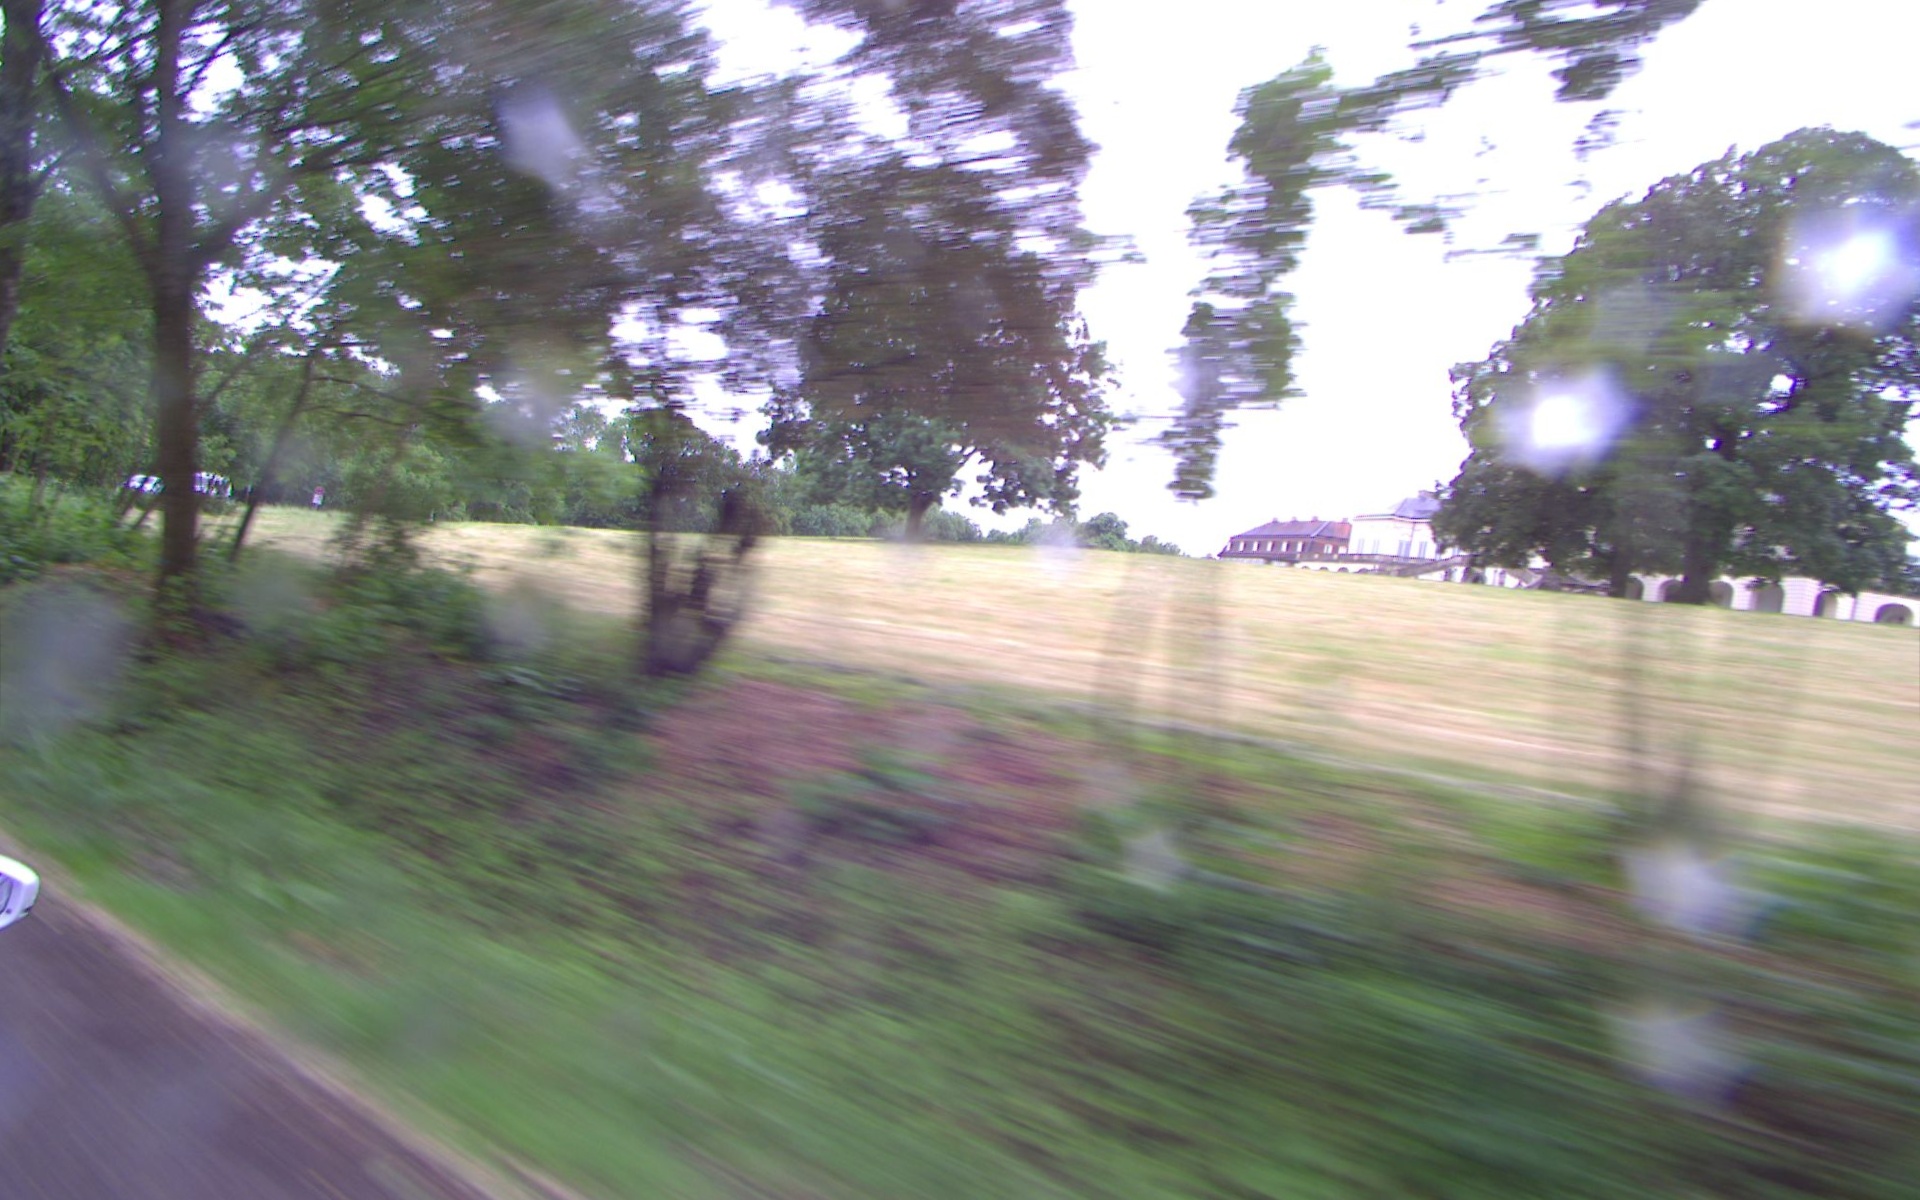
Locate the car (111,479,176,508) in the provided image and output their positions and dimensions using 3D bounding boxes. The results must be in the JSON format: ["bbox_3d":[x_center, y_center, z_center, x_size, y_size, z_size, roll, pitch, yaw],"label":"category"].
[{"bbox_3d":[-56.987,-7.432,70.312,1.839,1.616,4.474,7,2,-17],"label":"car"}]
